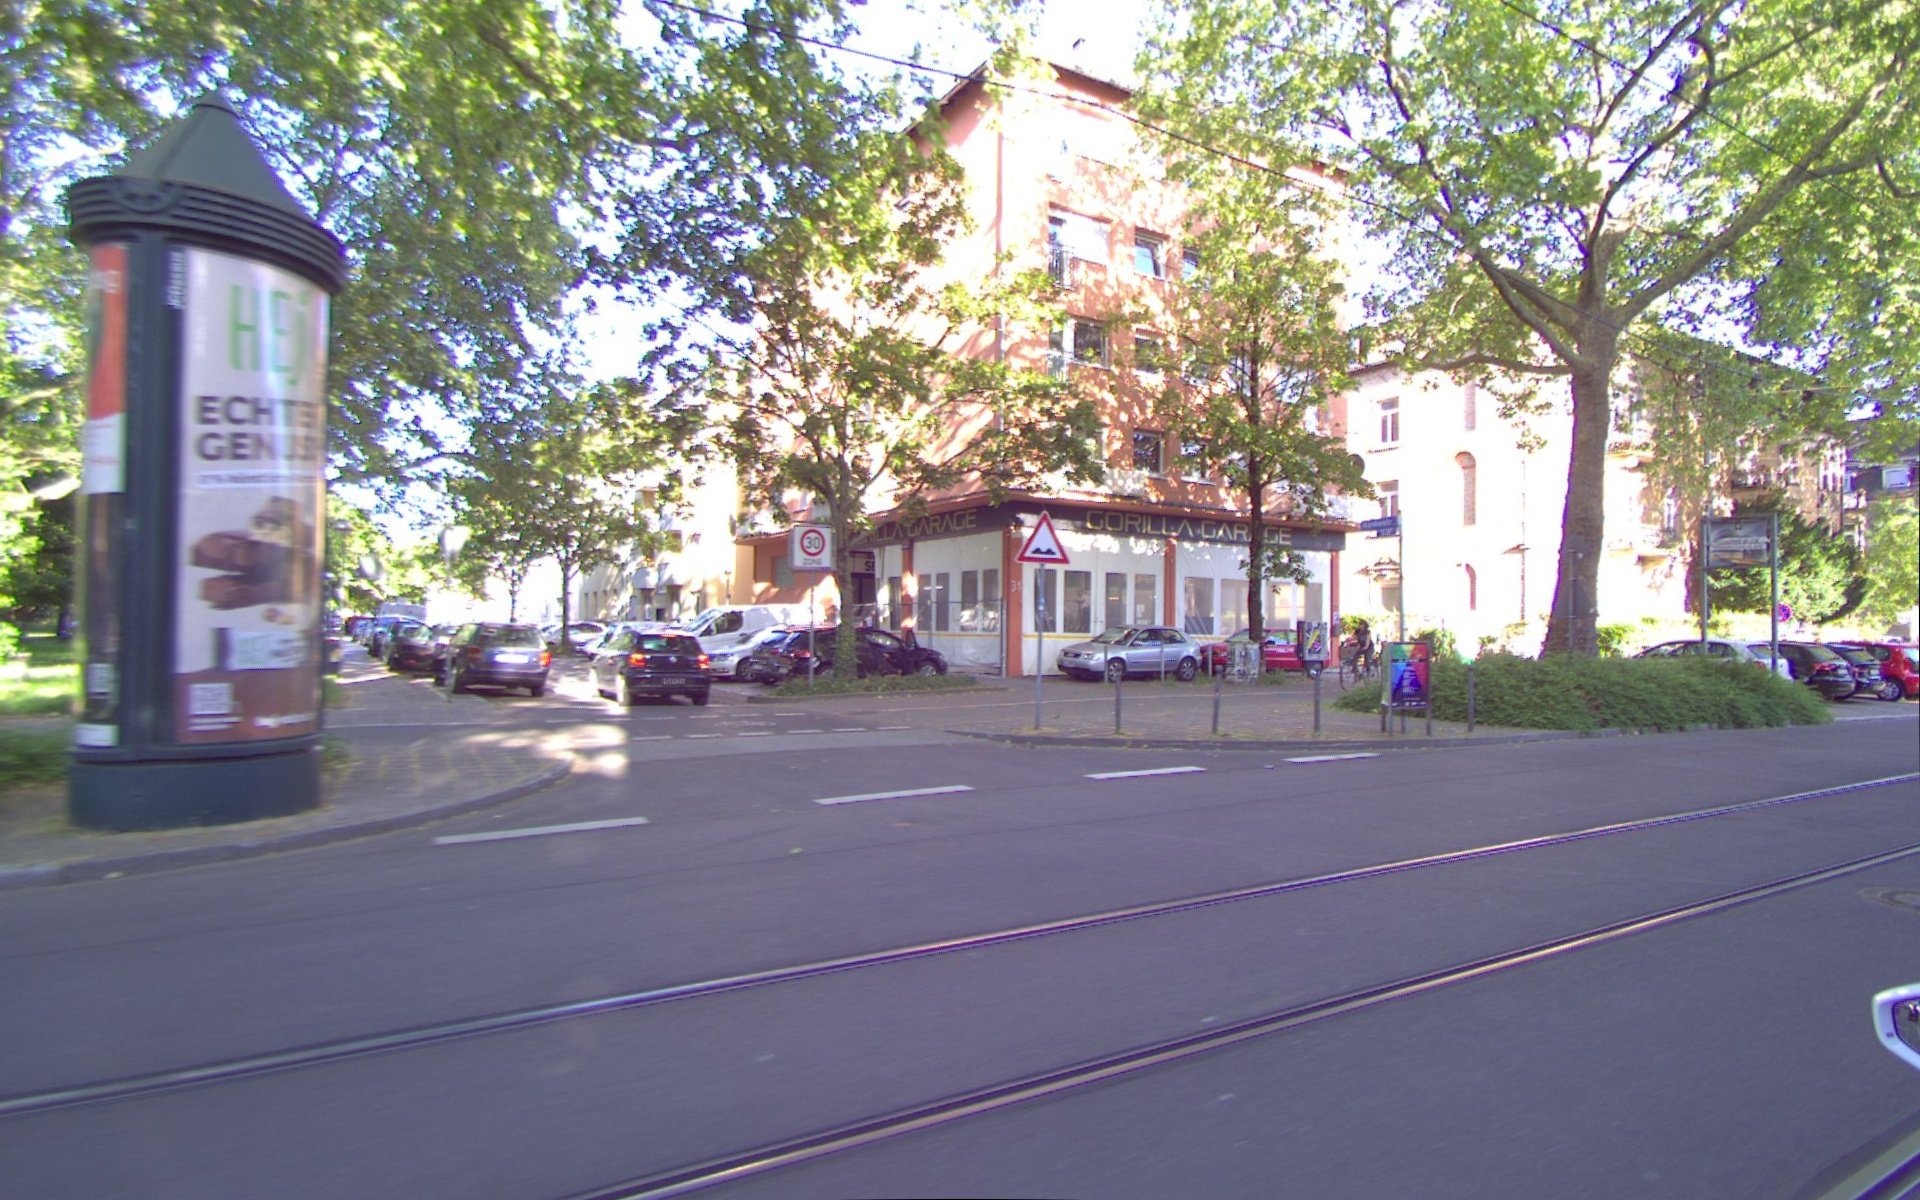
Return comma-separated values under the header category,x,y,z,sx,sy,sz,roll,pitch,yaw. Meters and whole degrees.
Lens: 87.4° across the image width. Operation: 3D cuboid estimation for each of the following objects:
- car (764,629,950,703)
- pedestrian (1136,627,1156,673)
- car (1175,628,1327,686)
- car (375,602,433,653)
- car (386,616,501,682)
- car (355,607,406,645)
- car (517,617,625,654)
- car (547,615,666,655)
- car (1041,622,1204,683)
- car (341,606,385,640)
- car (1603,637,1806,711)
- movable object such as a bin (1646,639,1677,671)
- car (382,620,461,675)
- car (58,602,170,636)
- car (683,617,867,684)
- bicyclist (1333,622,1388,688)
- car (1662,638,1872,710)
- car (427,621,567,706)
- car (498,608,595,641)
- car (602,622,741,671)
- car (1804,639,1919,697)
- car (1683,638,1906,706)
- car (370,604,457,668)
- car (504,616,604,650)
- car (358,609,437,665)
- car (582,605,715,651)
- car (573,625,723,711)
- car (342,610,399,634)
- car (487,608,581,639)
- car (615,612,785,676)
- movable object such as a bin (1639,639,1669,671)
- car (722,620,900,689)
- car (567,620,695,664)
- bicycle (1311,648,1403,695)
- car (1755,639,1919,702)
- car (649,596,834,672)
category,x,y,z,sx,sy,sz,roll,pitch,yaw
car,-2.317,1.468,23.209,3.968,1.513,1.797,2,-1,-41
pedestrian,7.430,1.975,40.100,0.514,1.801,0.536,2,-1,-31
car,8.246,1.590,28.451,3.953,1.507,1.939,2,-1,-30
car,-25.987,1.250,46.872,2.021,2.226,4.702,2,-1,-33
car,-13.159,1.185,25.442,1.808,1.469,4.434,2,-1,-38
car,-32.966,1.428,57.105,1.981,2.040,4.696,2,-1,-36
car,-18.595,1.704,48.093,4.443,1.639,1.930,2,-1,-38
car,-15.091,1.502,43.013,4.443,1.639,1.930,2,-1,-38
car,4.236,1.344,26.096,3.846,1.426,1.939,2,-1,-30
car,-38.850,1.474,65.298,1.981,2.040,4.696,2,-1,-36
car,17.133,1.646,23.258,1.675,1.484,3.406,2,-1,-28
movable object such as a bin,25.124,1.968,35.980,0.554,1.124,0.720,2,-1,-28
car,-16.229,1.383,30.184,1.672,1.469,3.683,2,-1,-35
car,-44.113,0.997,52.468,4.050,1.639,1.885,2,-1,-26
car,-4.945,1.326,27.176,4.520,1.639,1.977,2,-1,-40
bicyclist,9.601,1.295,24.053,1.108,1.527,0.793,2,-1,-41
car,19.292,1.726,24.176,1.665,1.484,3.588,2,-1,-28
car,-9.742,1.234,20.946,1.842,1.508,4.497,2,-1,-35
car,-21.961,1.311,53.426,4.443,1.639,1.930,2,-1,-38
car,-10.404,1.679,36.352,4.443,1.639,1.930,2,-1,-38
car,26.268,1.891,27.910,1.832,1.484,3.968,2,-1,-30
car,21.414,1.793,25.961,1.798,1.484,4.067,2,-1,-28
car,-18.750,1.198,34.362,1.982,2.040,3.956,2,-1,-38
car,-20.809,1.714,51.551,4.443,1.639,1.930,2,-1,-38
car,-22.160,1.408,39.479,1.982,2.040,4.694,2,-1,-38
car,-11.840,1.066,38.298,4.443,1.639,1.930,2,-1,-38
car,-6.373,1.310,20.242,1.726,1.467,3.961,4,-2,-35
car,-58.937,2.202,100.500,4.699,2.274,1.980,2,-1,-36
car,-23.516,1.311,55.504,4.443,1.639,1.930,2,-1,-38
car,-8.236,1.383,31.972,4.869,1.869,1.981,2,-1,-34
movable object such as a bin,24.638,1.950,35.675,0.536,1.124,0.721,2,-1,-28
car,-3.691,1.328,25.205,3.968,1.546,1.977,2,-1,-41
car,-13.091,1.668,40.062,4.443,1.639,1.930,2,-1,-38
bicycle,9.515,1.683,23.990,2.562,1.012,0.959,2,-1,-41
car,23.655,1.830,26.818,1.737,1.484,3.406,2,-1,-28
car,-6.281,0.982,29.207,4.879,2.030,1.977,2,-1,-40
